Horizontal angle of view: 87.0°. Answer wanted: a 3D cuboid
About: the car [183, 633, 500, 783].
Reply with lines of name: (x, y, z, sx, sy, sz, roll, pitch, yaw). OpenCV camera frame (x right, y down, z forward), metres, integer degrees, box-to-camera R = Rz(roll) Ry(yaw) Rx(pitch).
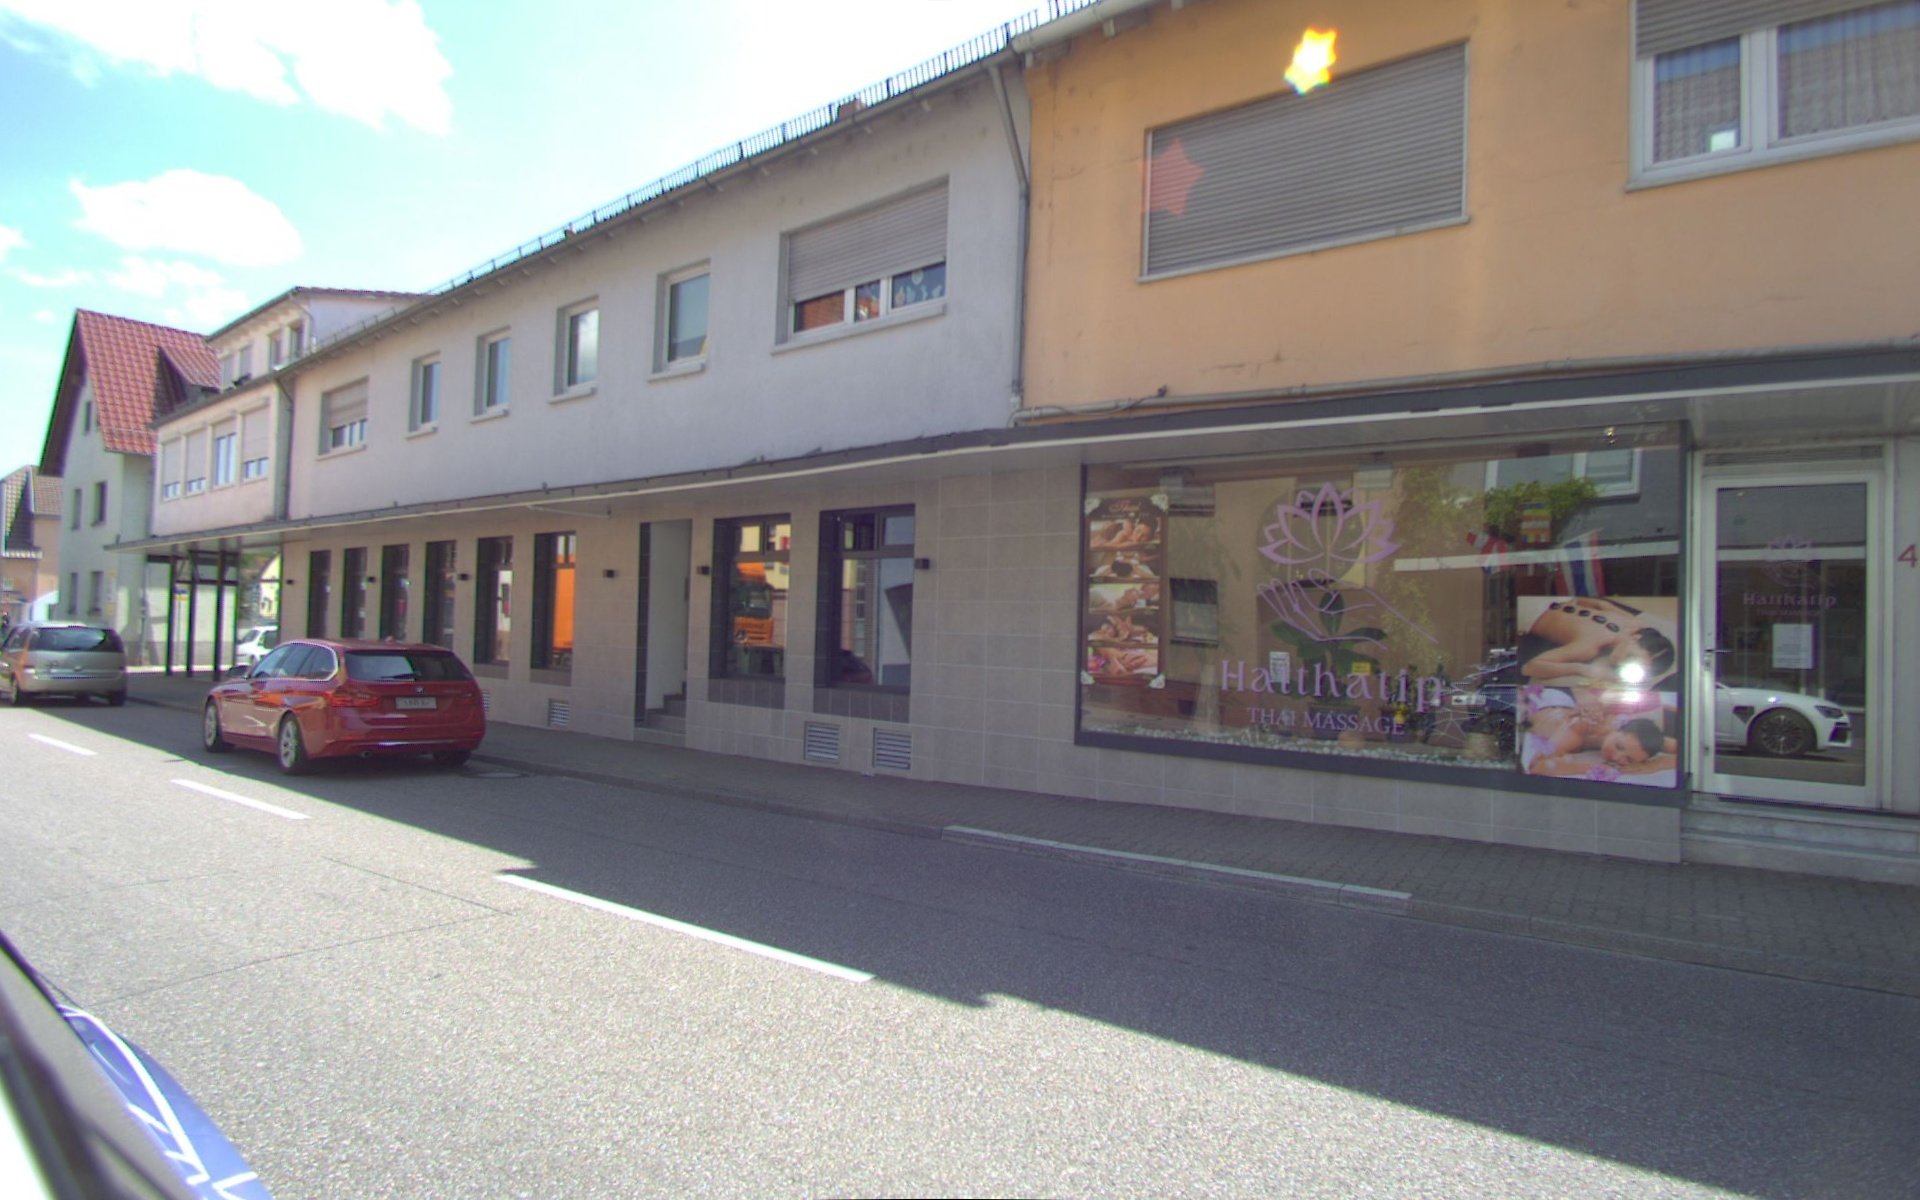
car: (-7.216, 1.144, 11.650, 4.279, 1.419, 1.701, -2, -6, 39)

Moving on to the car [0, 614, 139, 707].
car: (-17.846, 1.199, 19.888, 3.814, 1.629, 1.663, -2, -7, 37)

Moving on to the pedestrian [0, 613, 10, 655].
pedestrian: (-40.625, 1.429, 42.743, 0.474, 1.777, 0.469, 1, -2, 15)
